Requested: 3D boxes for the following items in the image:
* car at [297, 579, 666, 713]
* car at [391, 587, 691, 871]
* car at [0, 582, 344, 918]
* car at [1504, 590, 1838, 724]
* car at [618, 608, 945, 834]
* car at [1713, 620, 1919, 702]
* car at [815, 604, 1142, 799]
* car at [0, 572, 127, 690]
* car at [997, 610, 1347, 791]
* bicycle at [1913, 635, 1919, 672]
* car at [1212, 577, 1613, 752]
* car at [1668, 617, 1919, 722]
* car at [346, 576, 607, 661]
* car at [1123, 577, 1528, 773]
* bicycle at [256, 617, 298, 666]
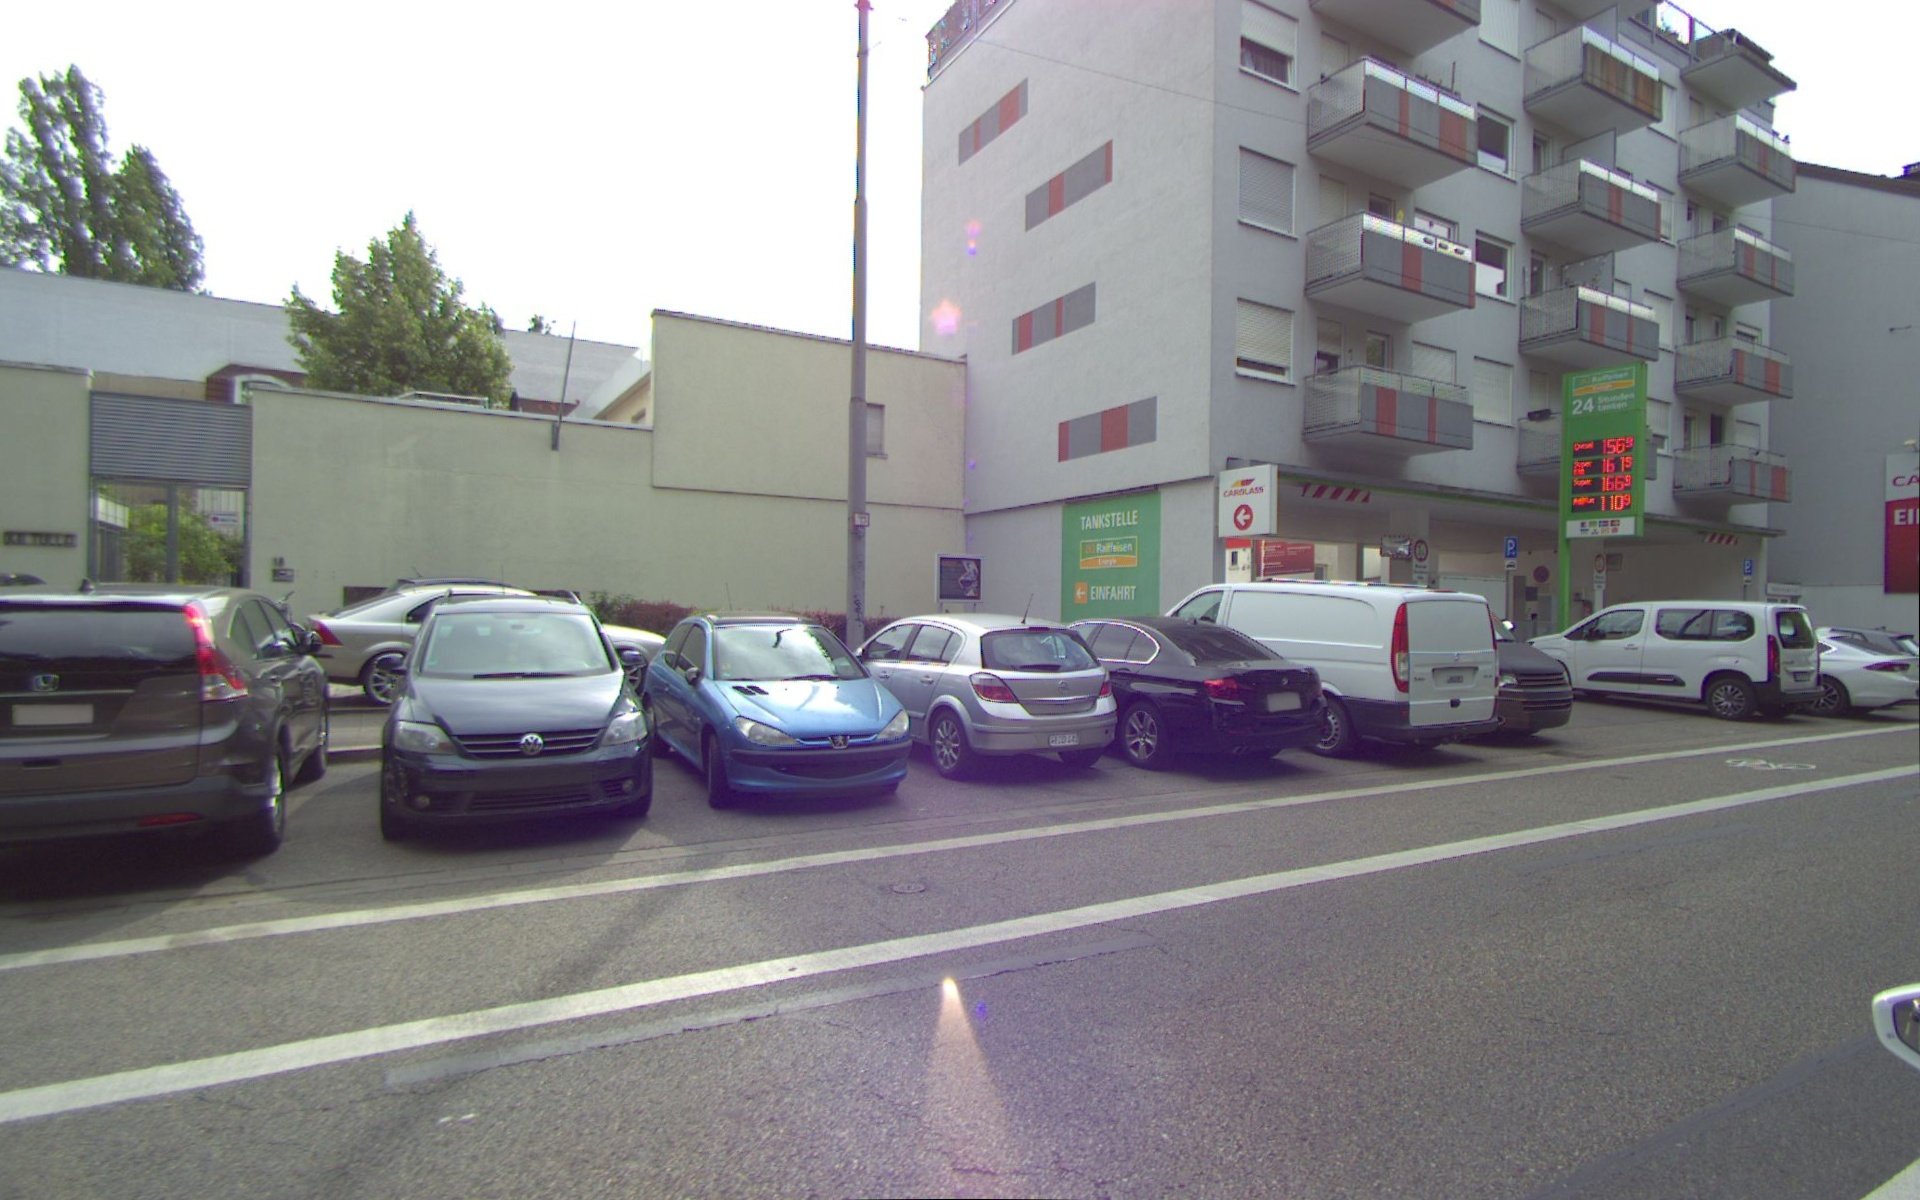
[{"bbox_3d":[-6.238,0.532,13.364,4.184,1.539,1.749,1,1,-30],"label":"car"},{"bbox_3d":[-3.465,0.748,8.050,1.731,1.591,3.925,1,2,-27],"label":"car"},{"bbox_3d":[-5.504,0.700,6.883,1.944,1.627,4.238,-1,2,-29],"label":"car"},{"bbox_3d":[12.010,0.857,17.291,1.803,1.895,4.285,1,1,-31],"label":"car"},{"bbox_3d":[-1.794,0.864,9.049,1.733,1.446,3.663,0,2,-30],"label":"car"},{"bbox_3d":[18.029,1.217,21.006,1.487,1.421,3.325,1,1,-31],"label":"car"},{"bbox_3d":[0.009,0.866,10.452,1.733,1.505,3.663,0,2,-31],"label":"car"},{"bbox_3d":[-14.045,0.363,14.672,1.892,1.485,3.974,3,0,-25],"label":"car"},{"bbox_3d":[2.110,0.918,10.973,1.733,1.464,3.664,0,2,-30],"label":"car"},{"bbox_3d":[28.025,1.552,28.045,0.405,1.048,2.000,-1,2,-28],"label":"bicycle"},{"bbox_3d":[6.059,0.712,14.185,1.977,1.929,4.892,1,2,-30],"label":"car"},{"bbox_3d":[14.577,1.124,17.478,1.578,1.517,3.325,1,1,-31],"label":"car"},{"bbox_3d":[-8.577,0.250,17.924,3.961,1.350,1.800,-1,2,-36],"label":"car"},{"bbox_3d":[4.243,0.719,12.496,2.022,1.904,4.506,1,1,-29],"label":"car"},{"bbox_3d":[-11.526,0.679,16.980,0.485,0.752,1.972,1,0,-32],"label":"bicycle"}]
